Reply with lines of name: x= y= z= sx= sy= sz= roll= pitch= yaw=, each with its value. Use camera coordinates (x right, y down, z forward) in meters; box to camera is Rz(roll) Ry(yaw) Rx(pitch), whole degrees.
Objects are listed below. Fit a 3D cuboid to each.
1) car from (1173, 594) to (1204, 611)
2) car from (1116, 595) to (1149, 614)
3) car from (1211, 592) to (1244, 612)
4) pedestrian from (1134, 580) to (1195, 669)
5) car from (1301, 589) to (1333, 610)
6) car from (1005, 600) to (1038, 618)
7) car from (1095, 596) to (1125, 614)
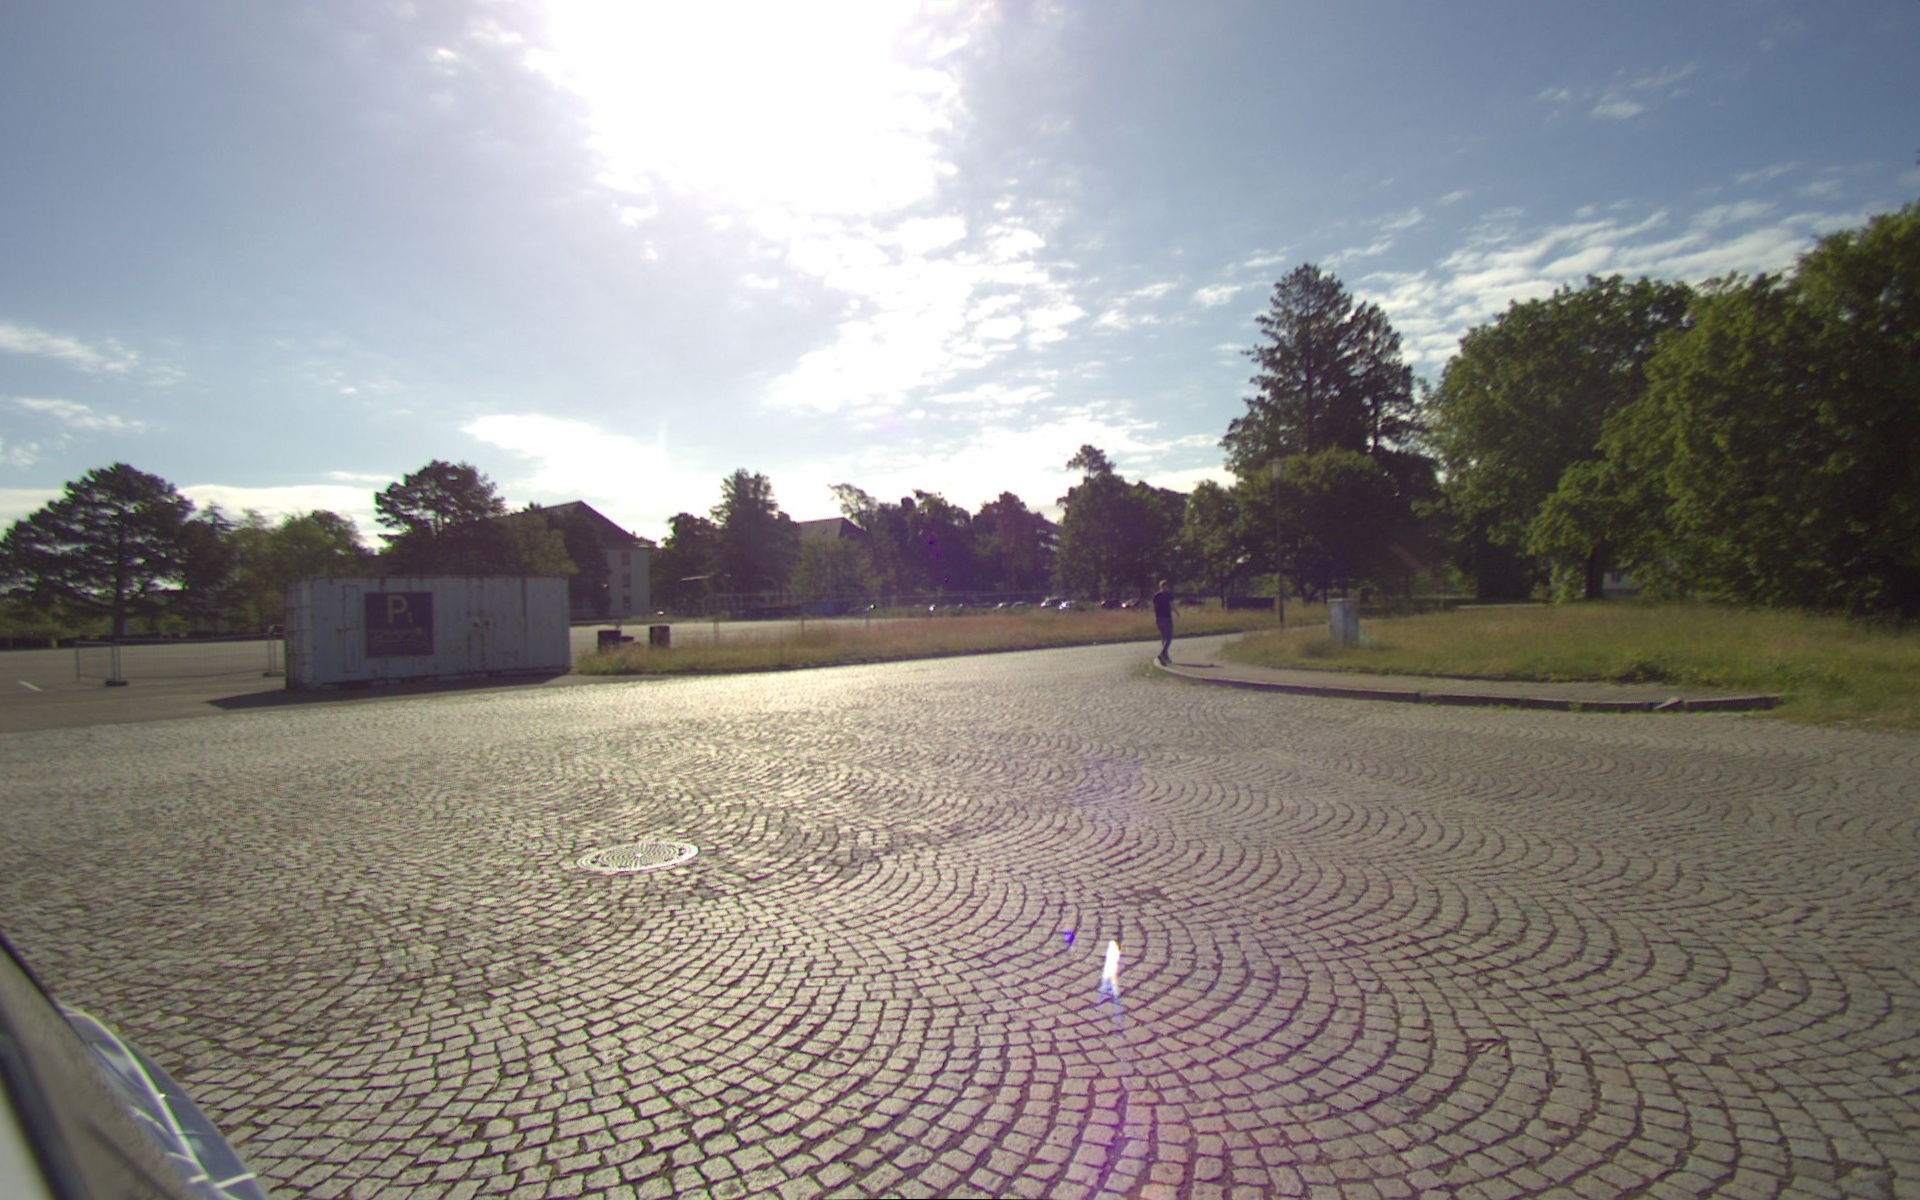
car: x=25.736 y=0.256 z=113.858 sx=1.996 sy=1.829 sz=3.952 roll=-2 pitch=0 yaw=35
car: x=20.307 y=0.514 z=118.991 sx=1.999 sy=2.029 sz=3.946 roll=-2 pitch=0 yaw=40
car: x=29.400 y=0.207 z=110.986 sx=1.998 sy=2.029 sz=3.947 roll=-2 pitch=0 yaw=39
pedestrian: x=4.561 y=0.528 z=22.554 sx=0.800 sy=1.928 sz=1.126 roll=-2 pitch=0 yaw=43
car: x=36.458 y=-0.102 z=103.293 sx=1.996 sy=2.029 sz=3.952 roll=-2 pitch=-1 yaw=35
car: x=7.950 y=1.179 z=130.499 sx=3.938 sy=2.029 sz=2.003 roll=-2 pitch=-3 yaw=-41
car: x=17.929 y=0.622 z=120.763 sx=1.995 sy=2.029 sz=3.955 roll=-2 pitch=0 yaw=34
